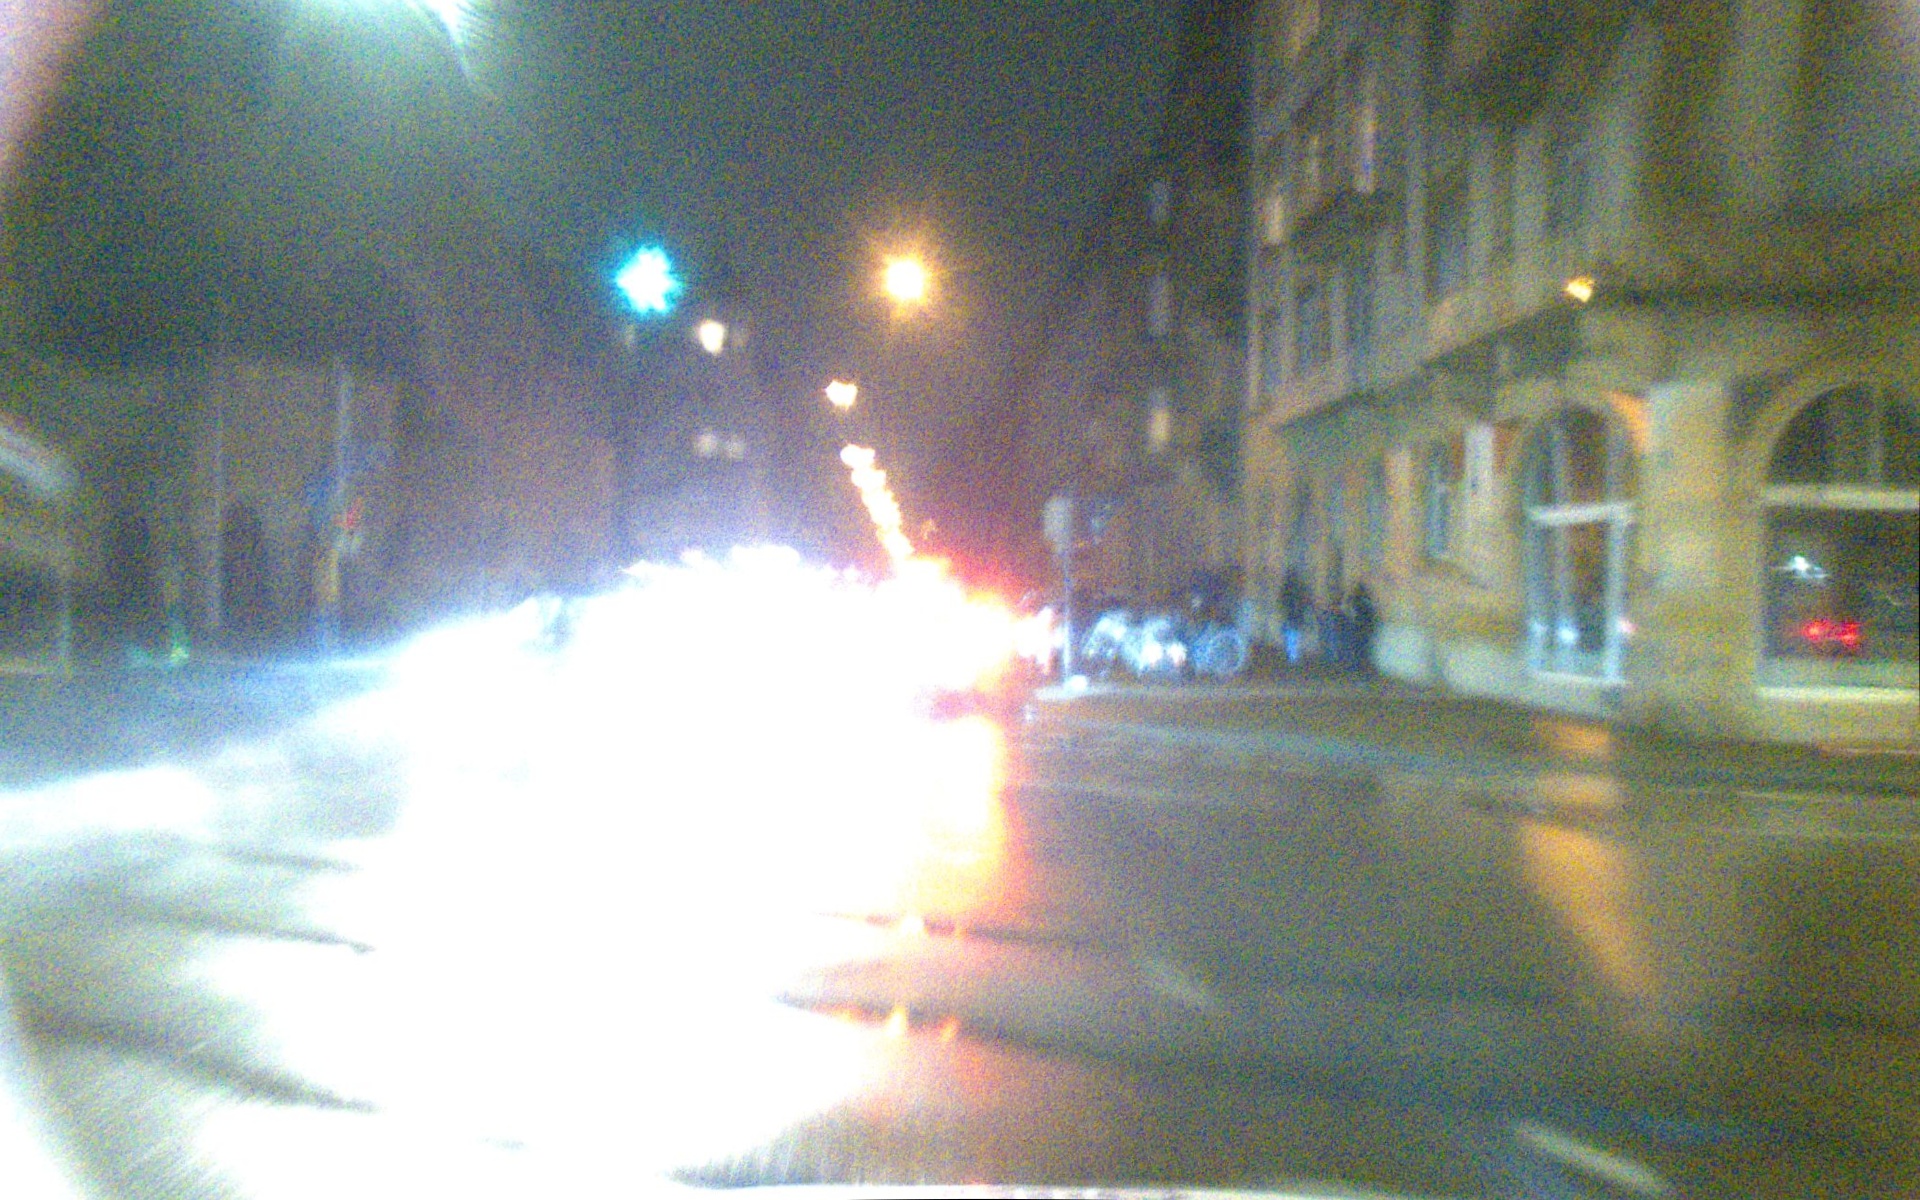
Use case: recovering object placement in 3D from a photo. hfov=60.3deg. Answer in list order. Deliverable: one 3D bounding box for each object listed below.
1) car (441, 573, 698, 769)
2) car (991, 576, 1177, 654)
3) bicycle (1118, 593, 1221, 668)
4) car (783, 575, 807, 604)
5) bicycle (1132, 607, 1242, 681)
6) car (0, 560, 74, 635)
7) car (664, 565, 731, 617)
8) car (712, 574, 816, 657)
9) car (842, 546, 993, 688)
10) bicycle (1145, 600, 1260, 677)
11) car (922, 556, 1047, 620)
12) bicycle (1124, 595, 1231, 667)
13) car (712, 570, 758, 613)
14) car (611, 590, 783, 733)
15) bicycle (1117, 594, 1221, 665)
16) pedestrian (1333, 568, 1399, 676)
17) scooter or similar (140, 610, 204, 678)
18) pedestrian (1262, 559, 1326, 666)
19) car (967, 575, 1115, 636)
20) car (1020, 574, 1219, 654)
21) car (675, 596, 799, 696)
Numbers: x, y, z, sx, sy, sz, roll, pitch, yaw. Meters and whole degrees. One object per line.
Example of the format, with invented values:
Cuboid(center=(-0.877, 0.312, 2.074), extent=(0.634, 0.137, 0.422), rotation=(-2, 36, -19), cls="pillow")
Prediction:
Cuboid(center=(-3.445, 0.548, 15.277), extent=(1.673, 1.569, 3.986), rotation=(0, 1, -4), cls="car")
Cuboid(center=(2.886, 0.301, 38.019), extent=(4.147, 1.604, 1.855), rotation=(-2, 2, -40), cls="car")
Cuboid(center=(4.044, 0.577, 32.034), extent=(1.860, 1.383, 0.595), rotation=(-2, 0, -7), cls="bicycle")
Cuboid(center=(-11.651, -0.741, 116.859), extent=(1.691, 2.006, 4.216), rotation=(0, 1, -5), cls="car")
Cuboid(center=(4.116, 0.791, 30.078), extent=(1.860, 1.273, 0.595), rotation=(-2, 0, -7), cls="bicycle")
Cuboid(center=(-23.584, -0.035, 39.458), extent=(1.663, 1.730, 4.193), rotation=(1, 3, 22), cls="car")
Cuboid(center=(-10.548, -0.396, 66.251), extent=(1.961, 2.006, 4.278), rotation=(0, 1, -19), cls="car")
Cuboid(center=(-3.948, 0.262, 33.938), extent=(1.752, 1.581, 4.852), rotation=(0, 1, -3), cls="car")
Cuboid(center=(-0.671, 0.202, 25.579), extent=(2.124, 2.006, 4.300), rotation=(0, 1, -2), cls="car")
Cuboid(center=(4.252, 0.658, 29.052), extent=(1.860, 1.273, 0.709), rotation=(-2, 0, -7), cls="bicycle")
Cuboid(center=(1.038, -0.516, 67.877), extent=(4.964, 2.433, 2.108), rotation=(-2, 2, -40), cls="car")
Cuboid(center=(4.036, 0.563, 30.773), extent=(1.860, 1.273, 0.595), rotation=(-2, 0, -7), cls="bicycle")
Cuboid(center=(-11.022, -0.436, 81.020), extent=(1.697, 2.006, 3.711), rotation=(0, 1, -16), cls="car")
Cuboid(center=(-3.198, 0.691, 20.785), extent=(1.635, 1.589, 4.006), rotation=(0, 1, -2), cls="car")
Cuboid(center=(3.964, 0.554, 31.419), extent=(1.860, 1.273, 0.595), rotation=(-2, 0, -7), cls="bicycle")
Cuboid(center=(6.306, 0.319, 25.711), extent=(0.765, 1.646, 1.000), rotation=(0, 1, -1), cls="pedestrian")
Cuboid(center=(-14.763, 0.818, 30.999), extent=(1.064, 1.261, 0.283), rotation=(0, 1, -31), cls="scooter or similar")
Cuboid(center=(6.085, 0.218, 30.159), extent=(0.938, 1.914, 1.000), rotation=(0, 1, -2), cls="pedestrian")
Cuboid(center=(2.443, 0.142, 49.903), extent=(4.116, 1.674, 1.758), rotation=(-2, 2, -23), cls="car")
Cuboid(center=(3.400, 0.243, 34.856), extent=(4.147, 1.483, 1.830), rotation=(-3, 2, -40), cls="car")
Cuboid(center=(-3.551, 0.691, 26.933), extent=(1.635, 1.445, 4.095), rotation=(0, 1, -3), cls="car")
